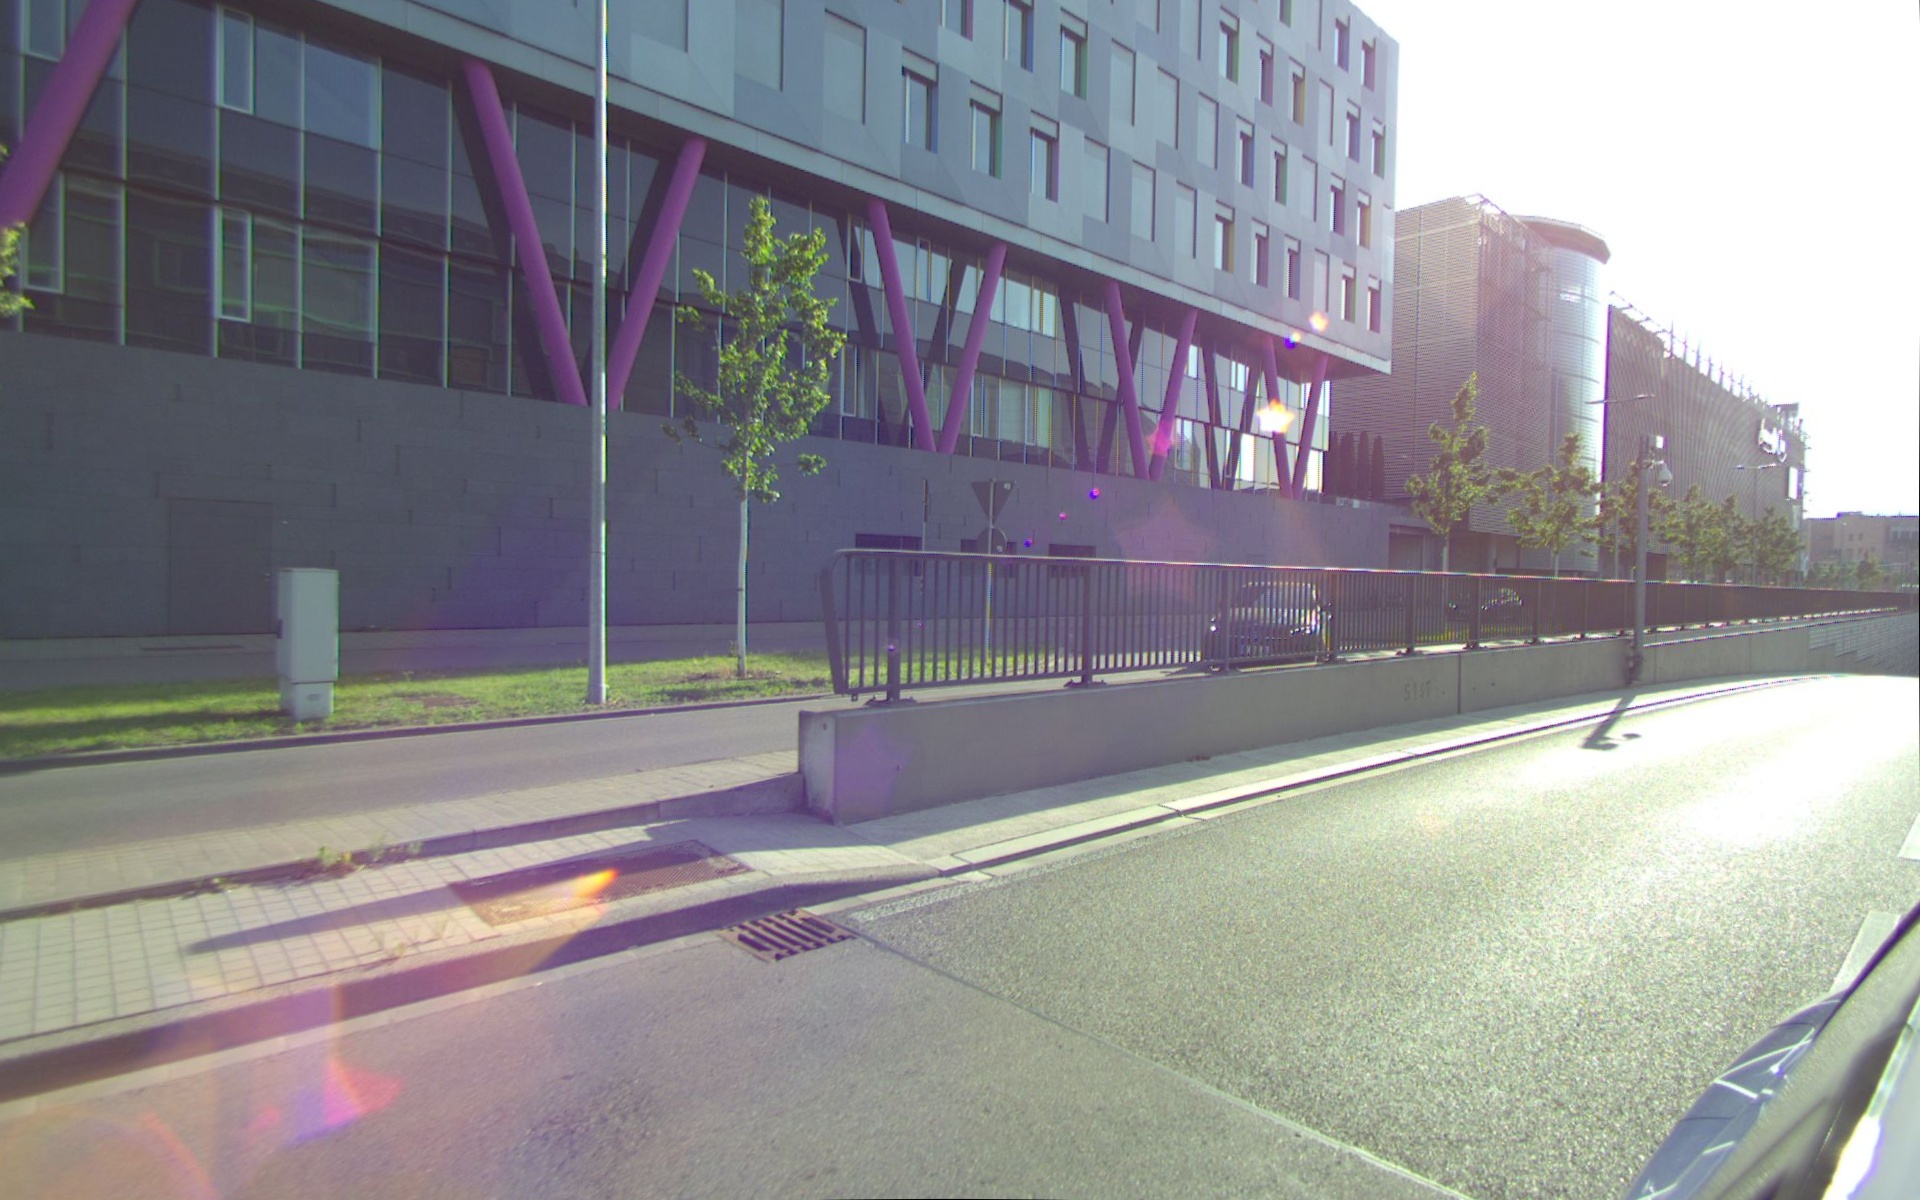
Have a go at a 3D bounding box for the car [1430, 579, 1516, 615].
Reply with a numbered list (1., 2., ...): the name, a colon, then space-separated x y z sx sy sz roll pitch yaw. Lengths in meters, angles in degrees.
1. car: 21.838 -0.179 42.984 4.398 1.444 1.892 -1 2 -43

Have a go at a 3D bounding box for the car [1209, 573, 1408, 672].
1. car: 6.078 0.304 17.328 1.835 1.468 4.492 1 1 39
